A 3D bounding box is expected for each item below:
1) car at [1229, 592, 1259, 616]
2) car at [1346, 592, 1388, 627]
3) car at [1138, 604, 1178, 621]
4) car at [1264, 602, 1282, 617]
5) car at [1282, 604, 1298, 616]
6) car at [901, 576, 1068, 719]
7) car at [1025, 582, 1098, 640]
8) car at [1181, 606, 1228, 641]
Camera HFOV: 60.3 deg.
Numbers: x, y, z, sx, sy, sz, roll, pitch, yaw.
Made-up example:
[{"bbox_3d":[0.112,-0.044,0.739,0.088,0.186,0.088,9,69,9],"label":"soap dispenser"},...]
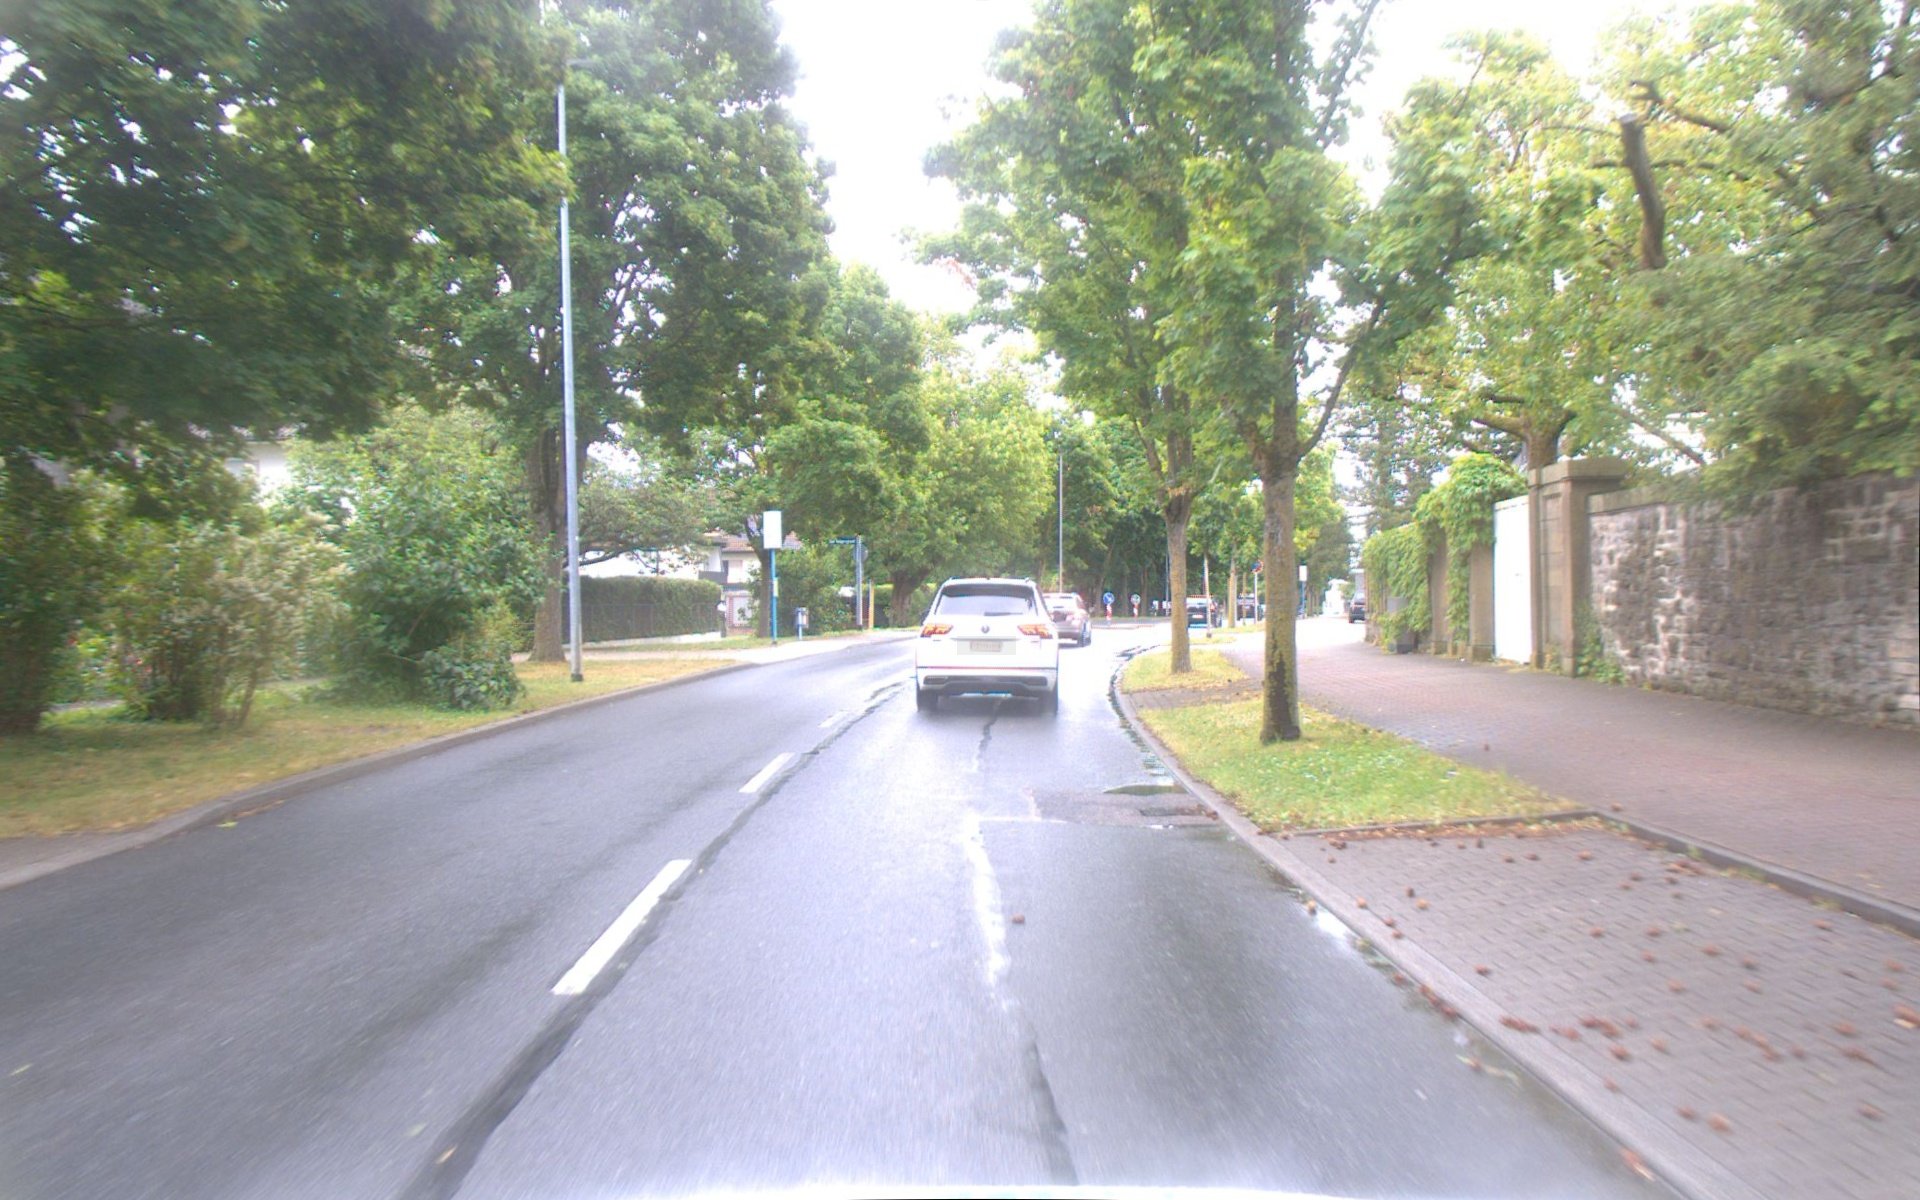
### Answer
[{"bbox_3d":[19.083,0.297,111.174,1.801,1.513,4.003,-2,-1,8],"label":"car"},{"bbox_3d":[18.497,0.419,75.034,1.733,1.524,4.547,-1,0,15],"label":"car"},{"bbox_3d":[17.276,1.098,144.421,1.814,1.508,3.975,-1,-1,-20],"label":"car"},{"bbox_3d":[29.279,0.890,154.589,1.602,1.349,4.003,1,0,12],"label":"car"},{"bbox_3d":[36.435,1.096,182.519,1.602,1.349,4.003,1,0,12],"label":"car"},{"bbox_3d":[0.379,0.560,21.814,1.955,1.660,4.001,2,0,2],"label":"car"},{"bbox_3d":[2.942,0.323,47.300,1.801,1.513,4.003,-2,-1,7],"label":"car"},{"bbox_3d":[11.449,1.053,77.278,1.801,1.513,4.003,2,0,13],"label":"car"}]
